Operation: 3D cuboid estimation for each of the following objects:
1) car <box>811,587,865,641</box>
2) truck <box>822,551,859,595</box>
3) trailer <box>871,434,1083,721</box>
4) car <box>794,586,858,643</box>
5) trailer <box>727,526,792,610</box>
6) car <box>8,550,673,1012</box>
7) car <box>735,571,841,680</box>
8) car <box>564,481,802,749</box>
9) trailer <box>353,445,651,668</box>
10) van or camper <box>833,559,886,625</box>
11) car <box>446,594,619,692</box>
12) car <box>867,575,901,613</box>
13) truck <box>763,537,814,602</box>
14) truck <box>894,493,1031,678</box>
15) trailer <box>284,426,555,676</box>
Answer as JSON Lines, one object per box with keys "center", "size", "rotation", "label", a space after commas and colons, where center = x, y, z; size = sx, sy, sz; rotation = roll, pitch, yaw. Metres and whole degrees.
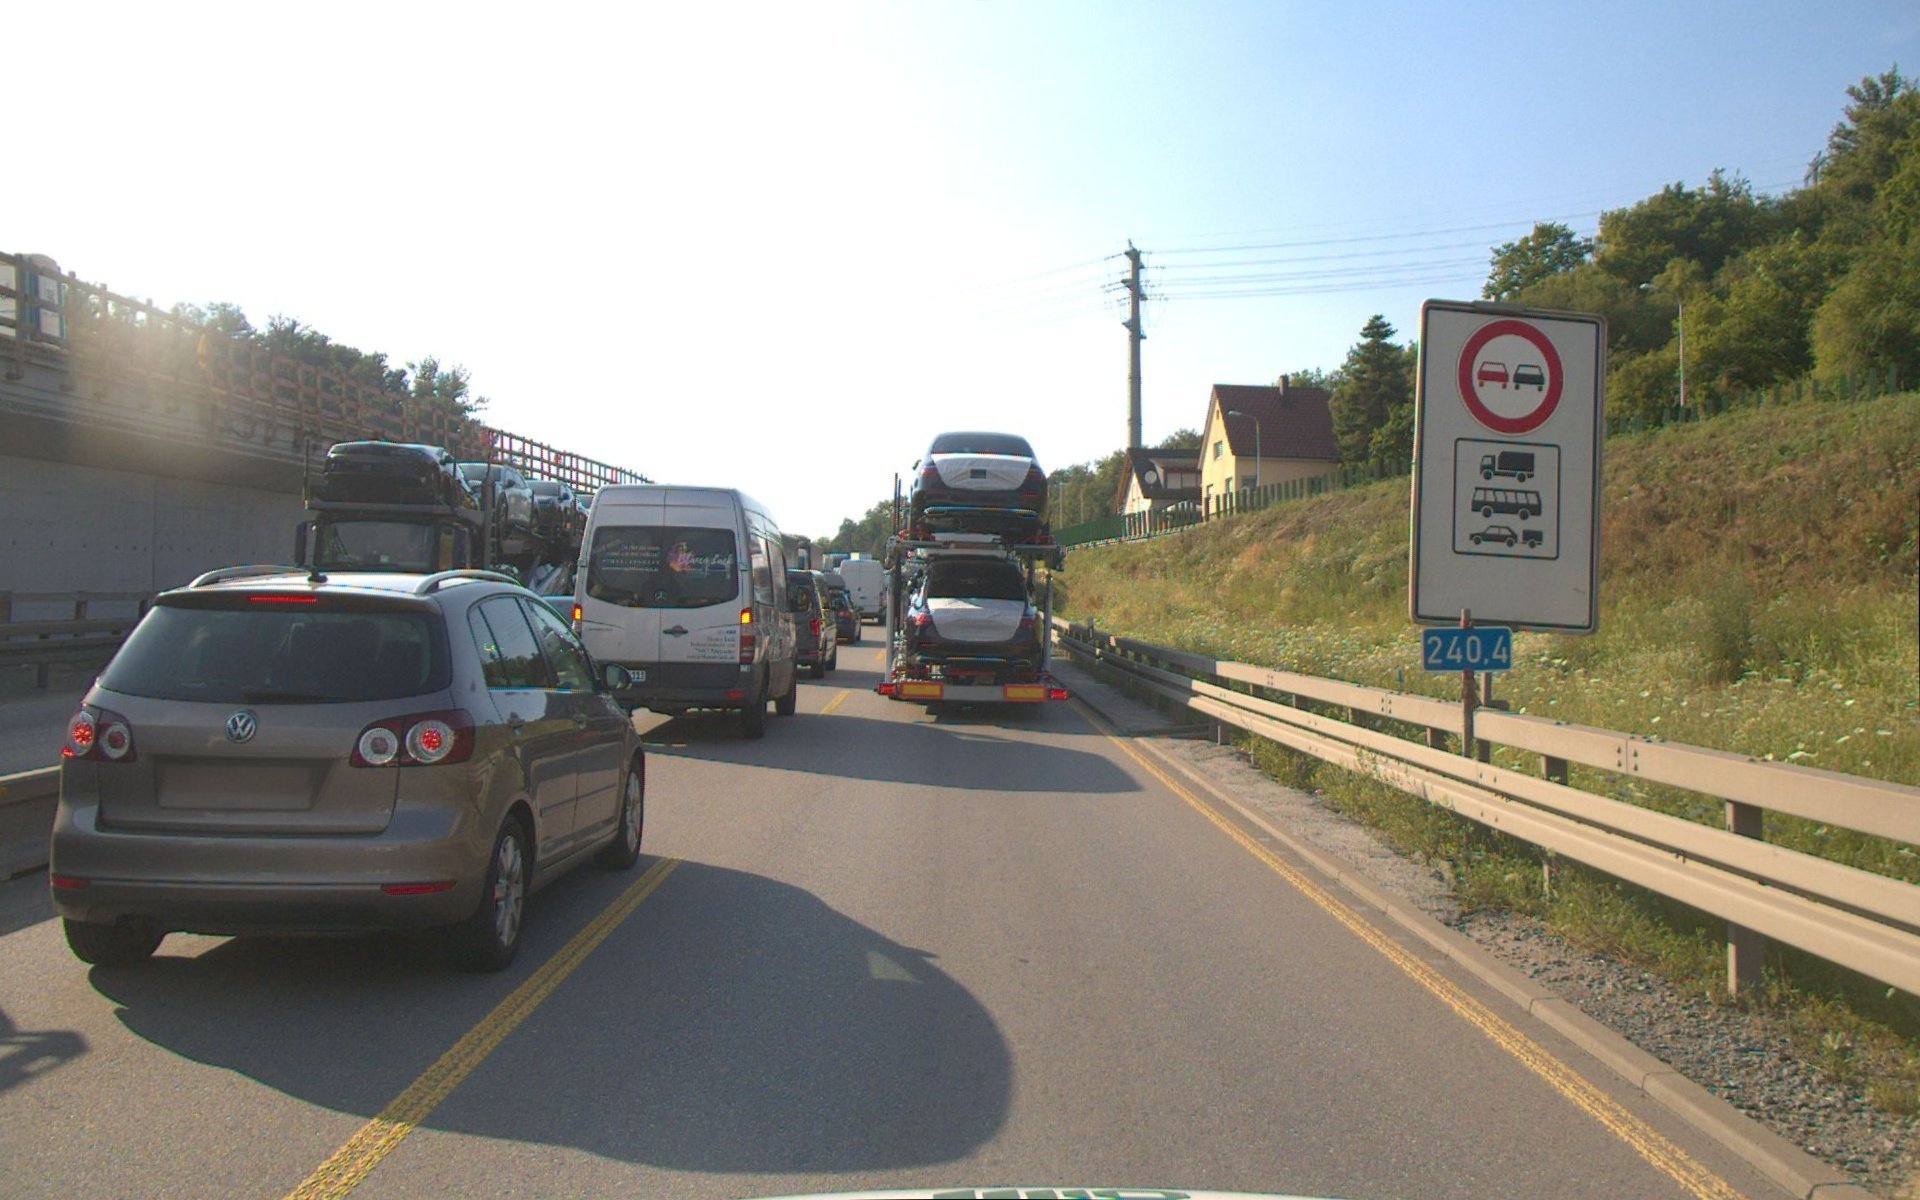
{"center": [-5.975, 0.659, 81.552], "size": [2.422, 2.578, 3.999], "rotation": [0, 0, -2], "label": "car"}
{"center": [-9.993, -2.224, 139.186], "size": [2.660, 3.484, 8.138], "rotation": [-2, 0, -2], "label": "truck"}
{"center": [0.119, -0.297, 28.725], "size": [2.628, 3.596, 15.286], "rotation": [1, 0, -1], "label": "trailer"}
{"center": [-3.903, 0.389, 48.693], "size": [1.691, 1.549, 3.972], "rotation": [1, 1, -2], "label": "car"}
{"center": [-10.501, -1.701, 87.215], "size": [2.708, 4.213, 5.975], "rotation": [1, 1, -1], "label": "trailer"}
{"center": [-2.545, 0.656, 7.963], "size": [1.646, 1.616, 4.270], "rotation": [0, 0, -1], "label": "car"}
{"center": [-3.273, 0.475, 32.120], "size": [1.772, 1.937, 3.998], "rotation": [1, 0, -3], "label": "car"}
{"center": [-3.054, 0.105, 19.435], "size": [1.953, 2.694, 5.530], "rotation": [0, 1, -1], "label": "car"}
{"center": [-10.037, -0.807, 38.826], "size": [2.715, 4.101, 15.760], "rotation": [1, 0, -1], "label": "trailer"}
{"center": [-4.170, -0.326, 69.166], "size": [1.928, 2.637, 5.041], "rotation": [1, 0, -1], "label": "van or camper"}
{"center": [-7.010, 0.660, 27.591], "size": [1.674, 1.470, 4.599], "rotation": [1, 0, 0], "label": "car"}
{"center": [-4.346, -0.356, 94.761], "size": [1.847, 2.136, 3.764], "rotation": [1, 1, -2], "label": "car"}
{"center": [-11.222, -1.942, 108.741], "size": [2.802, 4.078, 5.656], "rotation": [1, 0, -1], "label": "truck"}
{"center": [0.007, -0.292, 36.214], "size": [2.628, 3.596, 7.192], "rotation": [1, 0, -1], "label": "truck"}
{"center": [-9.876, -0.811, 31.112], "size": [2.715, 4.101, 7.206], "rotation": [1, 0, -1], "label": "trailer"}
